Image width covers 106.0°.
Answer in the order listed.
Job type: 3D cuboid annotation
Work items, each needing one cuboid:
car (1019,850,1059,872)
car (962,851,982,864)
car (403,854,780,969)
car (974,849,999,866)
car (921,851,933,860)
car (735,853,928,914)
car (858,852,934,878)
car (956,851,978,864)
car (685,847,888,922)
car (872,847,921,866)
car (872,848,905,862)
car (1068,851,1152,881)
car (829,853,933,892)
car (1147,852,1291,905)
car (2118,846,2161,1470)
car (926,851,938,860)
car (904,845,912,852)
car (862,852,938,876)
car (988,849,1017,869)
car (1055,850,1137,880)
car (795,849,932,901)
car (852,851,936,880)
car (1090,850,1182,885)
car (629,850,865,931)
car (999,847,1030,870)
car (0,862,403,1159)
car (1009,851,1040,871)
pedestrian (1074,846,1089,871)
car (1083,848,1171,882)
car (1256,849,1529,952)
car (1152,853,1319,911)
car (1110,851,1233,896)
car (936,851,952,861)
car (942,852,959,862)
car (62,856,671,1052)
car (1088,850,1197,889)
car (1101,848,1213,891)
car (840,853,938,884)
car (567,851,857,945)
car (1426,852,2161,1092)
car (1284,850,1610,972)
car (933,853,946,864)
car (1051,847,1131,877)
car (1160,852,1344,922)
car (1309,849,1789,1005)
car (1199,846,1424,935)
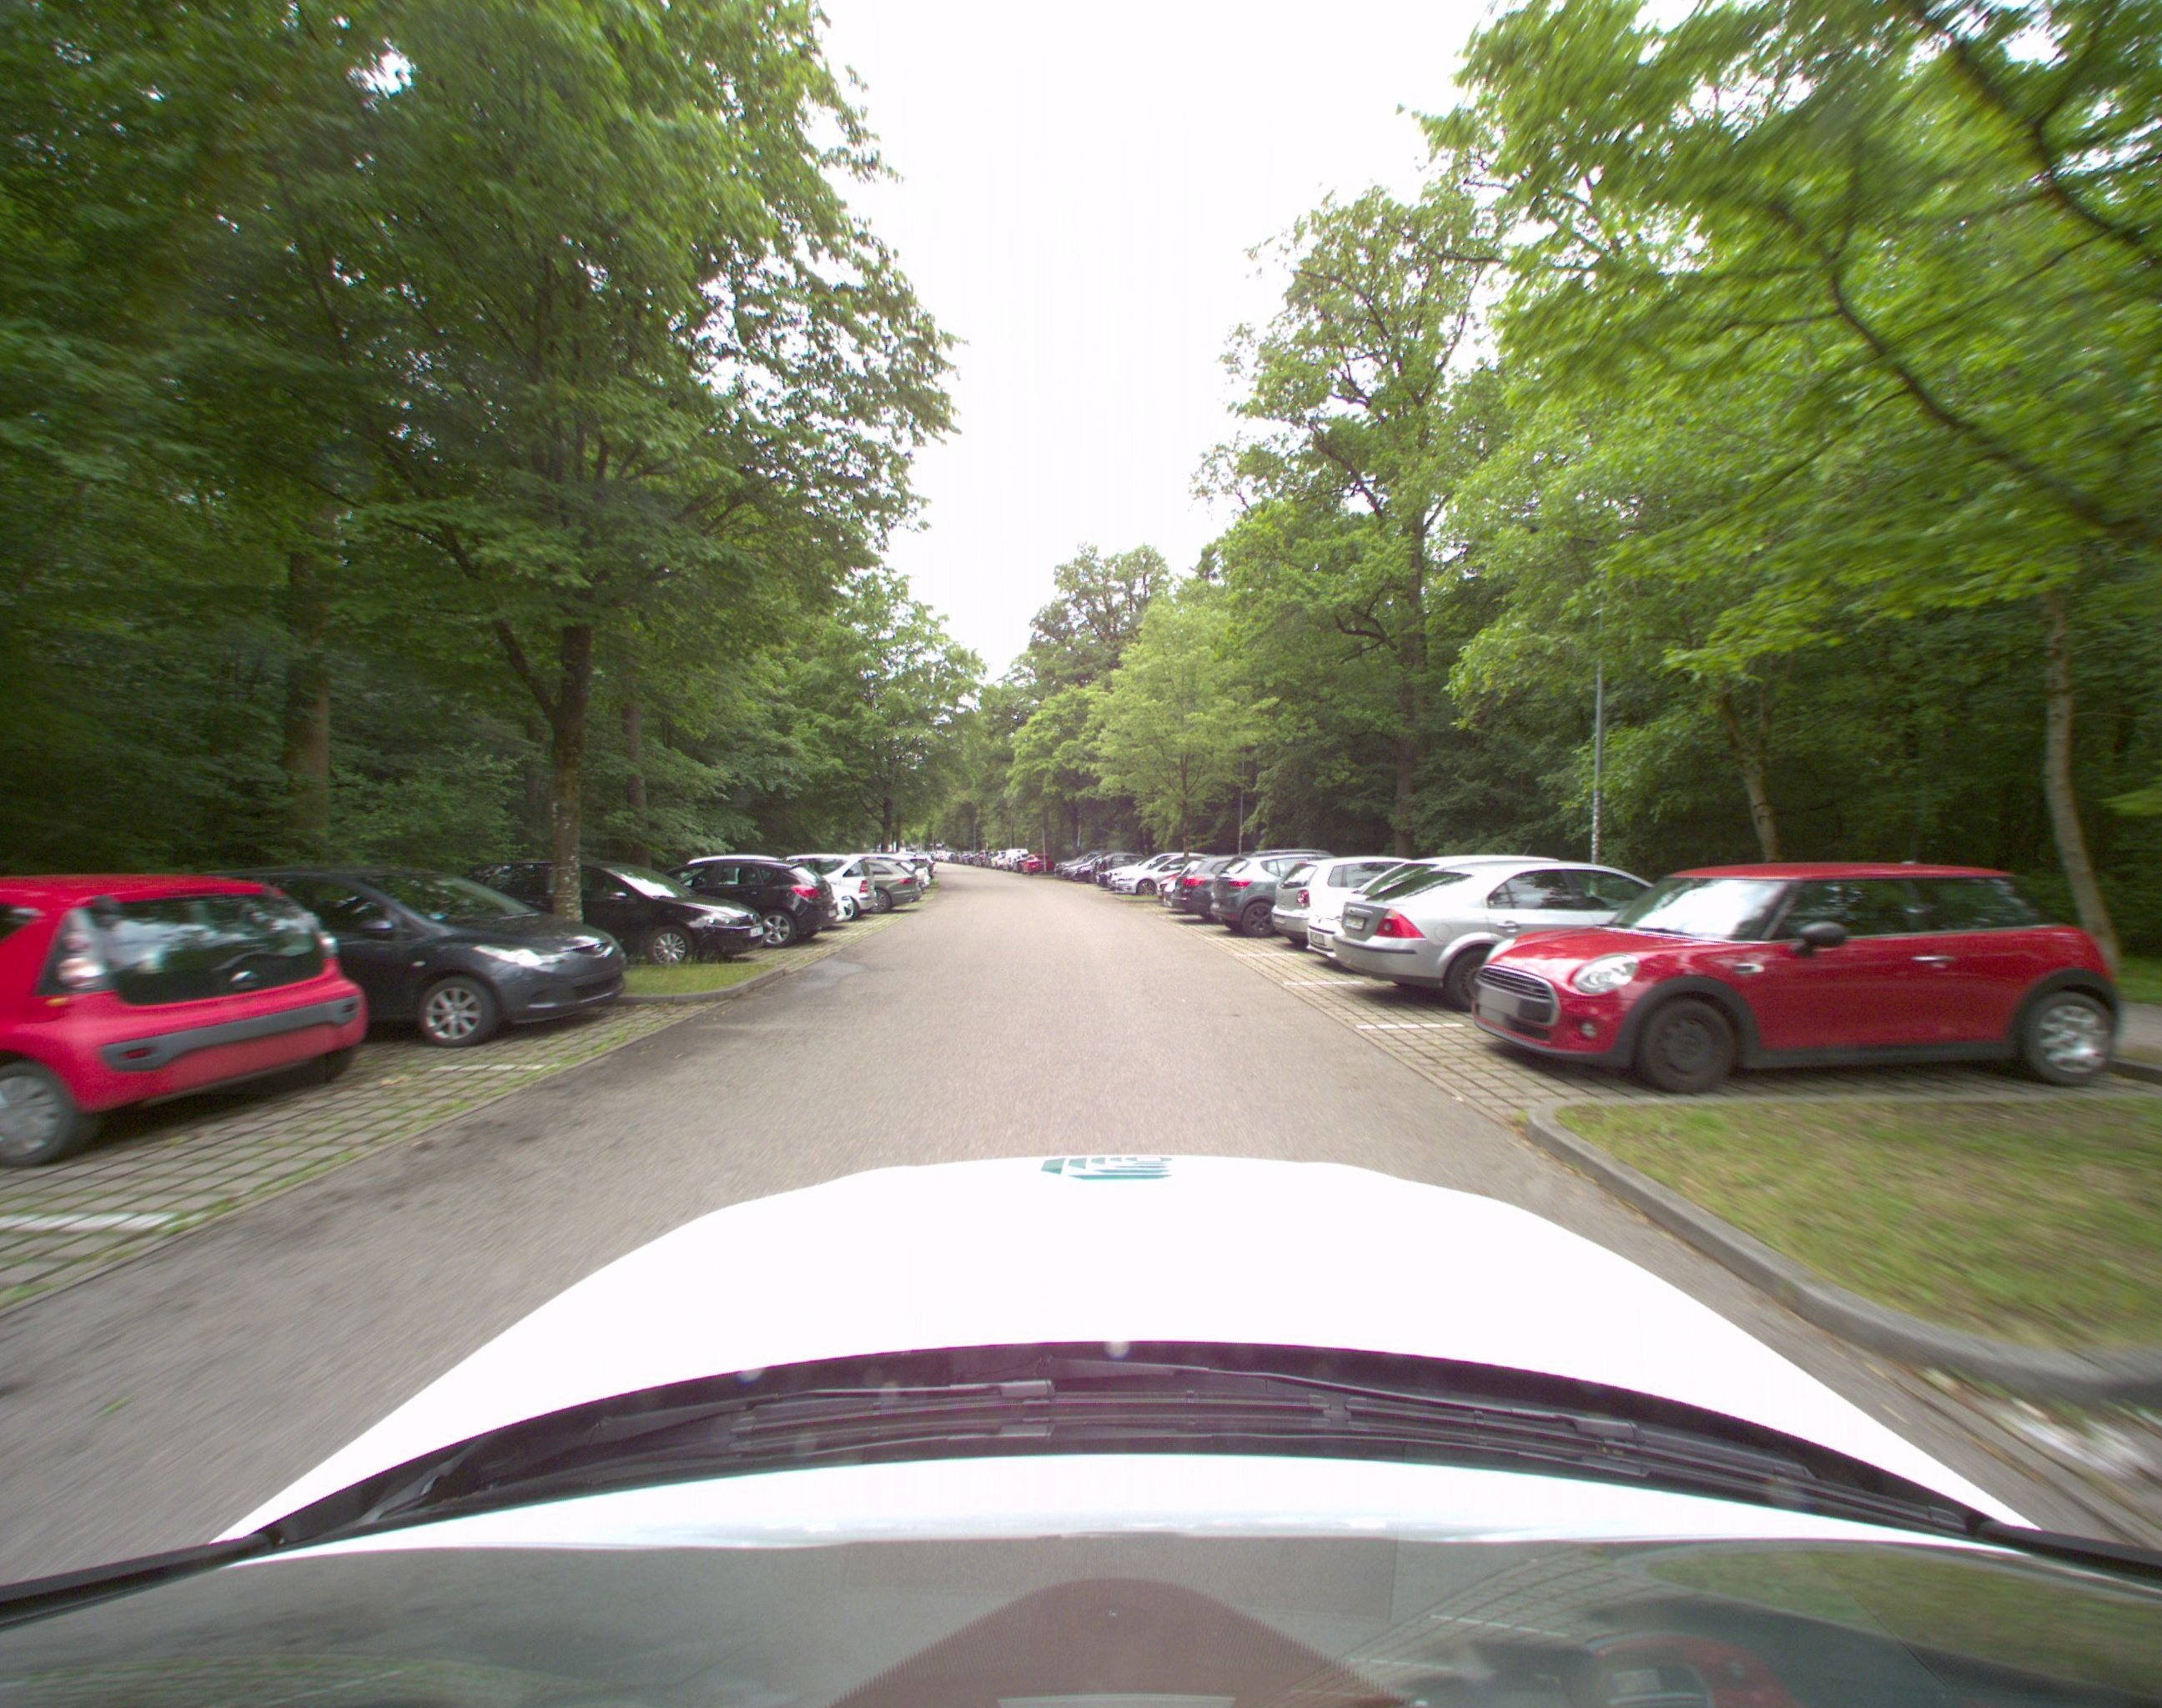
[{"bbox_3d":[-2.948,0.460,56.052,1.995,1.479,4.950,0,0,-13],"label":"car"},{"bbox_3d":[-12.593,0.402,94.030,1.641,1.477,4.127,0,0,-17],"label":"car"},{"bbox_3d":[-6.707,0.751,11.540,4.223,1.473,1.718,0,-1,-3],"label":"car"},{"bbox_3d":[-9.771,0.335,83.849,1.893,1.747,4.923,0,0,-15],"label":"car"},{"bbox_3d":[-27.634,0.277,146.284,1.924,1.520,3.868,0,0,-15],"label":"car"},{"bbox_3d":[-6.574,0.756,21.981,4.633,1.478,2.090,-1,0,-6],"label":"car"},{"bbox_3d":[-11.088,0.644,48.780,4.374,1.486,1.882,-1,0,-16],"label":"car"},{"bbox_3d":[-13.968,0.369,99.693,1.982,1.537,4.596,0,0,-16],"label":"car"},{"bbox_3d":[-6.945,0.675,19.636,4.230,1.647,1.965,-1,0,-8],"label":"car"},{"bbox_3d":[-16.495,0.246,72.865,4.230,1.633,2.019,0,0,-14],"label":"car"},{"bbox_3d":[-24.617,0.116,104.289,3.998,1.816,2.102,0,0,-19],"label":"car"},{"bbox_3d":[1.447,0.607,41.230,3.987,1.475,1.946,0,0,-10],"label":"car"},{"bbox_3d":[-7.740,0.704,31.875,3.724,1.419,1.867,-1,0,-8],"label":"car"},{"bbox_3d":[4.033,0.686,24.022,3.800,1.441,1.861,0,1,-15],"label":"car"},{"bbox_3d":[4.521,0.719,1.018,3.972,1.483,1.923,0,0,1],"label":"car"},{"bbox_3d":[-25.470,0.277,139.433,1.714,1.509,3.979,0,0,-15],"label":"car"},{"bbox_3d":[-42.358,-1.378,198.985,1.632,1.415,3.393,1,3,-16],"label":"car"},{"bbox_3d":[-11.470,0.605,51.458,4.573,1.447,2.074,-1,0,-17],"label":"car"},{"bbox_3d":[-7.033,0.407,72.648,1.789,1.662,4.692,0,0,-16],"label":"car"},{"bbox_3d":[0.782,0.568,43.784,3.995,1.551,1.965,0,0,-16],"label":"car"},{"bbox_3d":[-7.132,0.657,27.047,3.946,1.628,1.999,-1,0,1],"label":"car"},{"bbox_3d":[-9.999,0.584,43.813,4.265,1.486,2.051,0,0,-10],"label":"car"},{"bbox_3d":[2.419,0.580,36.379,3.826,1.457,1.803,-1,0,-9],"label":"car"},{"bbox_3d":[-6.875,0.715,17.136,4.228,1.533,1.759,-1,0,-6],"label":"car"},{"bbox_3d":[-5.460,0.346,66.671,1.747,1.780,4.529,0,0,-15],"label":"car"},{"bbox_3d":[-6.676,0.816,5.001,3.594,1.474,1.675,0,1,1],"label":"car"},{"bbox_3d":[-4.305,0.509,61.496,1.727,1.422,4.265,0,0,-13],"label":"car"},{"bbox_3d":[0.034,0.316,55.937,0.818,1.726,0.999,0,0,-13],"label":"pedestrian"},{"bbox_3d":[2.143,0.502,38.597,3.827,1.531,1.844,-1,0,-10],"label":"car"},{"bbox_3d":[4.978,0.694,13.311,3.836,1.546,1.727,0,0,-5],"label":"car"},{"bbox_3d":[3.952,0.697,21.203,3.927,1.411,1.874,0,1,-6],"label":"car"},{"bbox_3d":[3.143,0.662,28.695,3.977,1.483,1.877,0,1,-11],"label":"car"},{"bbox_3d":[-20.637,0.260,122.229,1.728,1.494,3.748,0,0,-21],"label":"car"},{"bbox_3d":[-18.647,0.416,116.504,1.941,1.475,3.969,0,0,-17],"label":"car"},{"bbox_3d":[-6.254,0.808,7.548,3.978,1.491,1.706,-1,1,-3],"label":"car"},{"bbox_3d":[2.495,0.616,33.712,4.188,1.511,1.886,0,1,-11],"label":"car"},{"bbox_3d":[2.866,0.582,31.213,4.003,1.559,1.973,0,1,-6],"label":"car"},{"bbox_3d":[-9.072,0.670,38.897,4.404,1.424,2.029,0,0,-9],"label":"car"},{"bbox_3d":[-6.371,0.721,14.482,4.222,1.530,2.005,0,0,-2],"label":"car"},{"bbox_3d":[4.964,0.721,6.075,3.977,1.449,1.939,0,0,-3],"label":"car"},{"bbox_3d":[4.840,0.715,11.125,3.693,1.511,1.750,0,0,-3],"label":"car"},{"bbox_3d":[-22.172,0.646,127.479,1.714,1.728,3.979,0,0,-15],"label":"car"},{"bbox_3d":[0.563,0.443,46.201,4.267,1.666,1.951,0,0,-11],"label":"car"},{"bbox_3d":[3.826,0.711,18.554,3.765,1.481,1.769,0,1,-8],"label":"car"},{"bbox_3d":[4.761,0.703,8.740,4.114,1.461,1.864,0,0,-1],"label":"car"},{"bbox_3d":[4.327,0.652,15.685,3.760,1.589,1.947,0,1,-4],"label":"car"}]
